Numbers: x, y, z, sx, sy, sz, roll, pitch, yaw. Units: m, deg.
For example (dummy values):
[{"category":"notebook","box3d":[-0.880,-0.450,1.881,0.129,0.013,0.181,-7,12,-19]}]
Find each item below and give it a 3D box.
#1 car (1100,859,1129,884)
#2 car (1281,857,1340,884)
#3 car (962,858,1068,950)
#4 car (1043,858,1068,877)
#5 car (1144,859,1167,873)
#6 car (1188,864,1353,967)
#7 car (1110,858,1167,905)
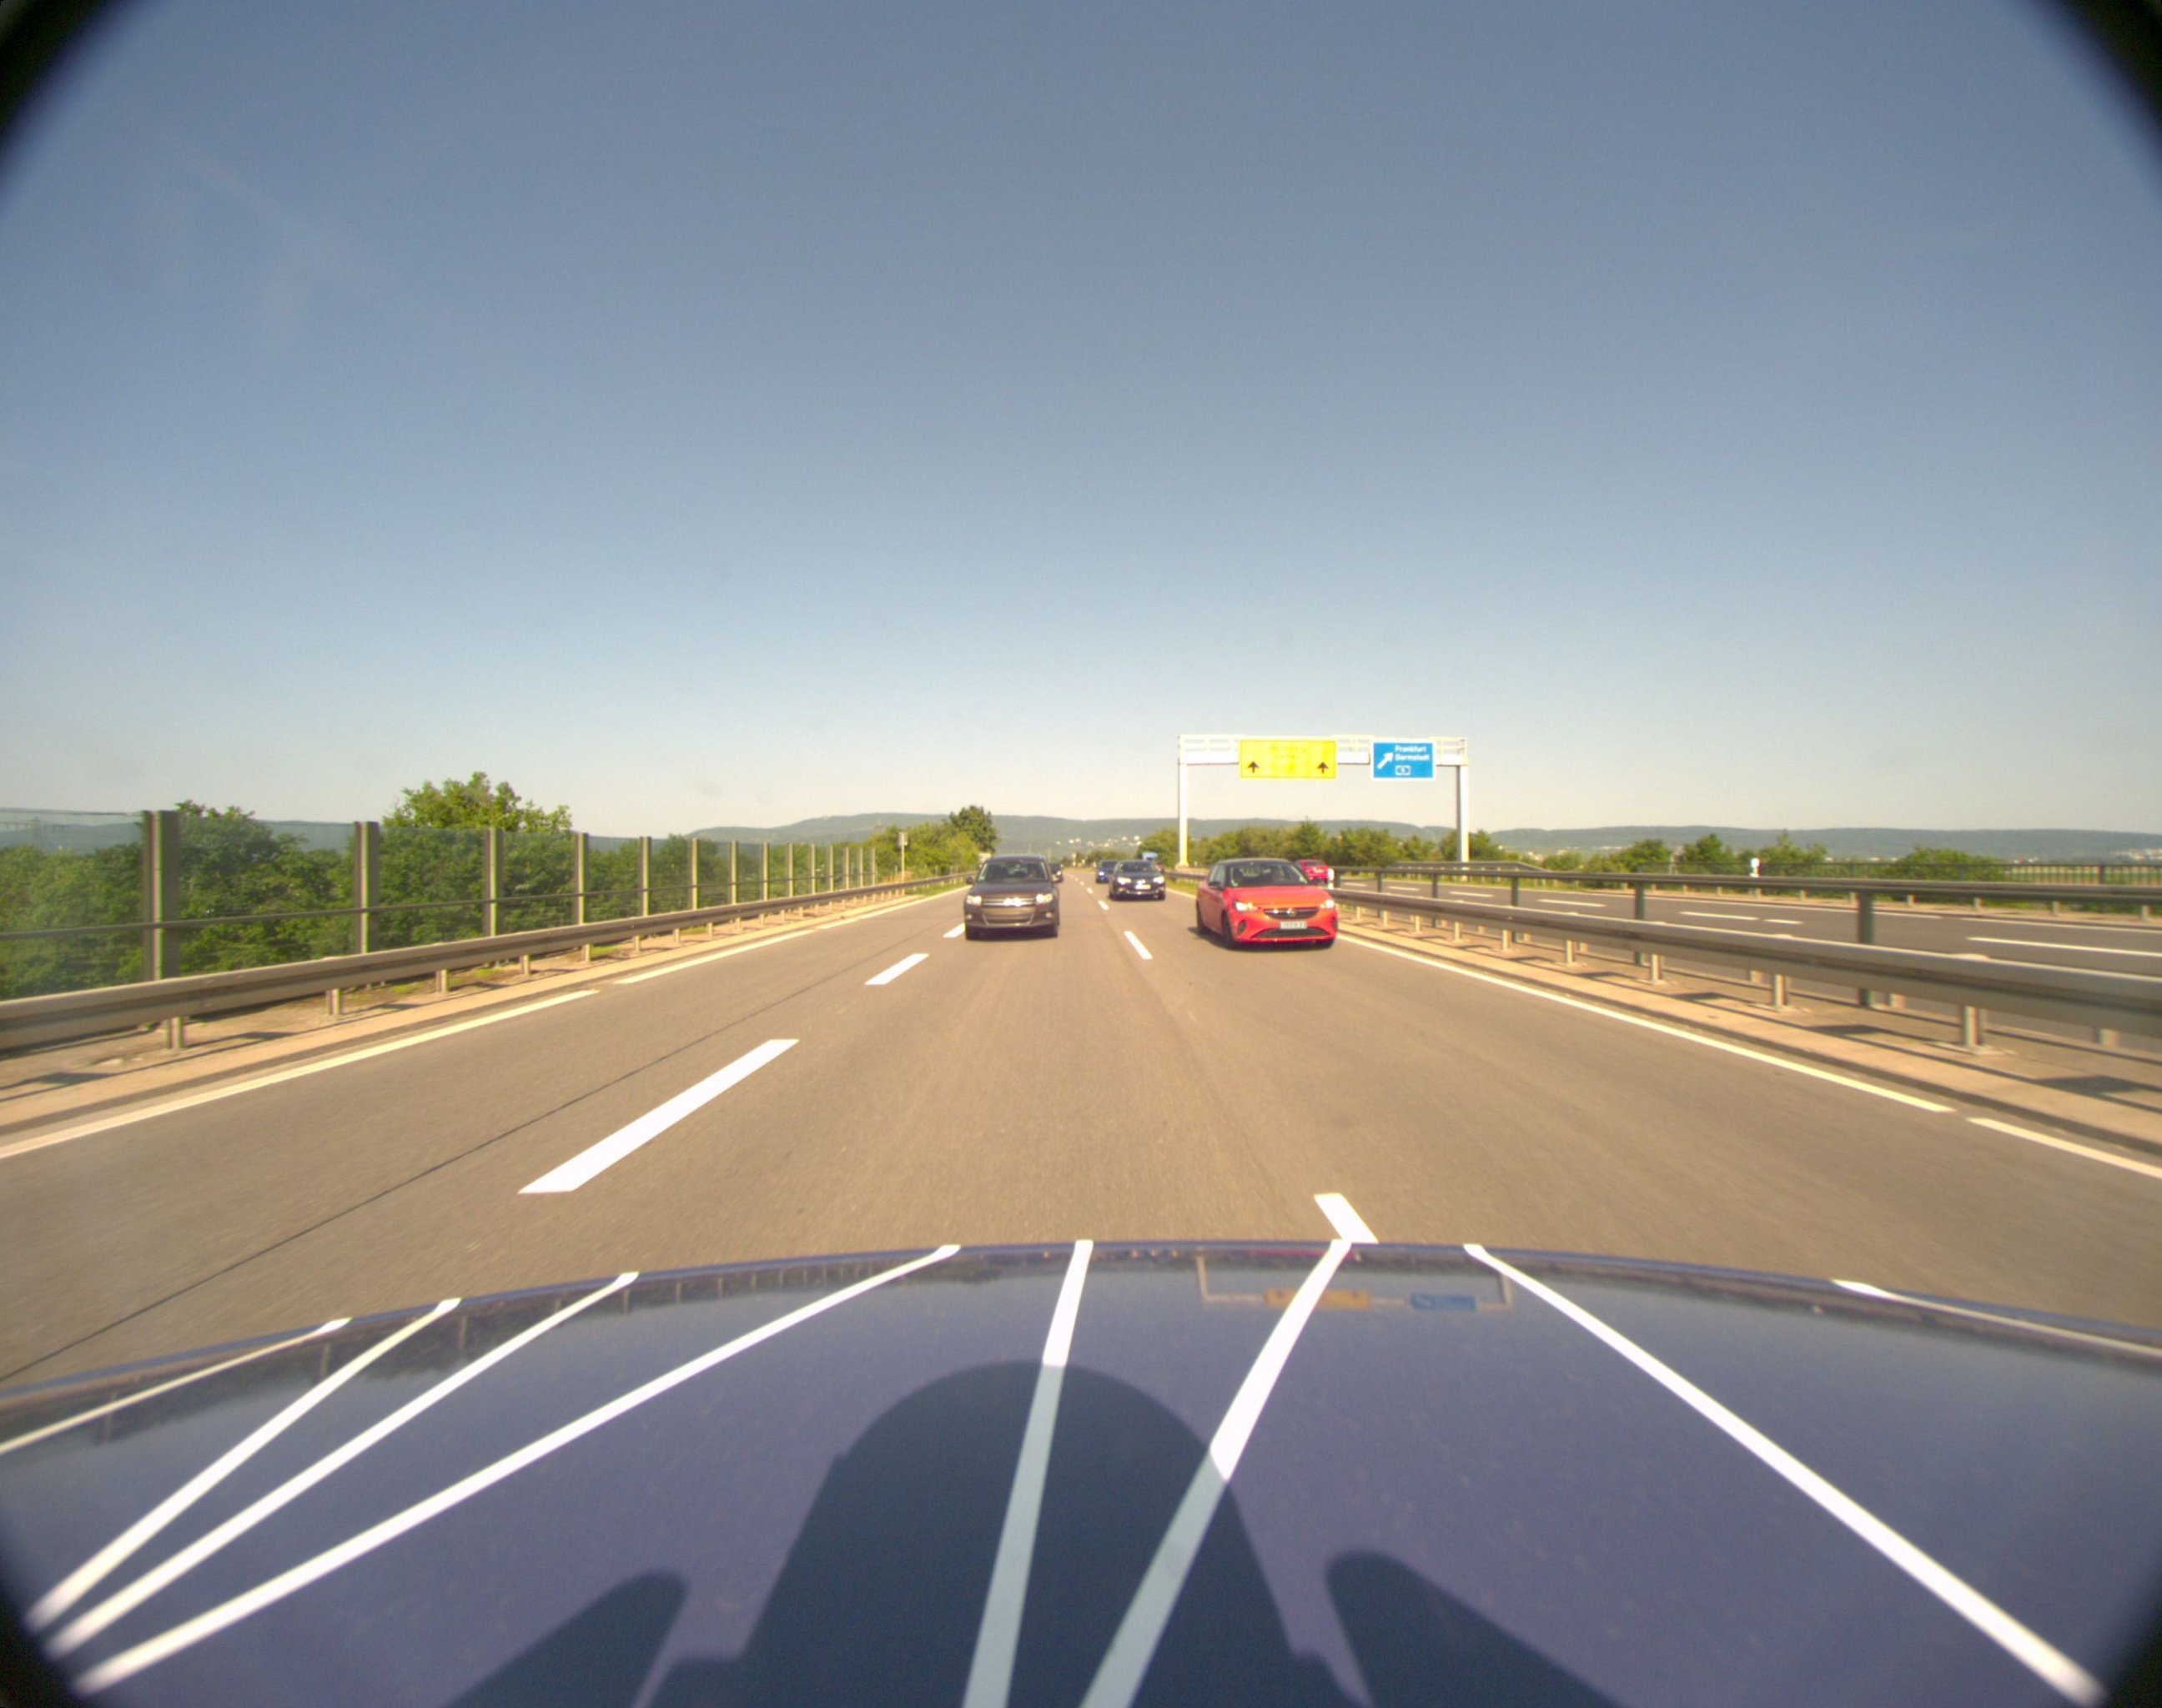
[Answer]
[{"category":"car","box3d":[2.091,1.062,48.365,1.651,1.403,3.775,-2,1,1]},{"category":"car","box3d":[13.105,0.922,43.711,1.829,1.420,4.530,-2,0,-2]},{"category":"car","box3d":[-1.252,0.930,16.075,1.790,1.637,4.148,-2,0,1]},{"category":"car","box3d":[-1.772,0.955,53.920,1.601,1.241,4.000,-2,0,-1]},{"category":"car","box3d":[8.117,1.276,82.629,1.878,1.430,4.501,-2,0,-2]},{"category":"car","box3d":[3.088,0.933,13.338,1.713,1.428,4.412,-2,0,-1]},{"category":"car","box3d":[2.060,0.965,28.406,1.788,1.524,4.375,-2,0,0]}]
